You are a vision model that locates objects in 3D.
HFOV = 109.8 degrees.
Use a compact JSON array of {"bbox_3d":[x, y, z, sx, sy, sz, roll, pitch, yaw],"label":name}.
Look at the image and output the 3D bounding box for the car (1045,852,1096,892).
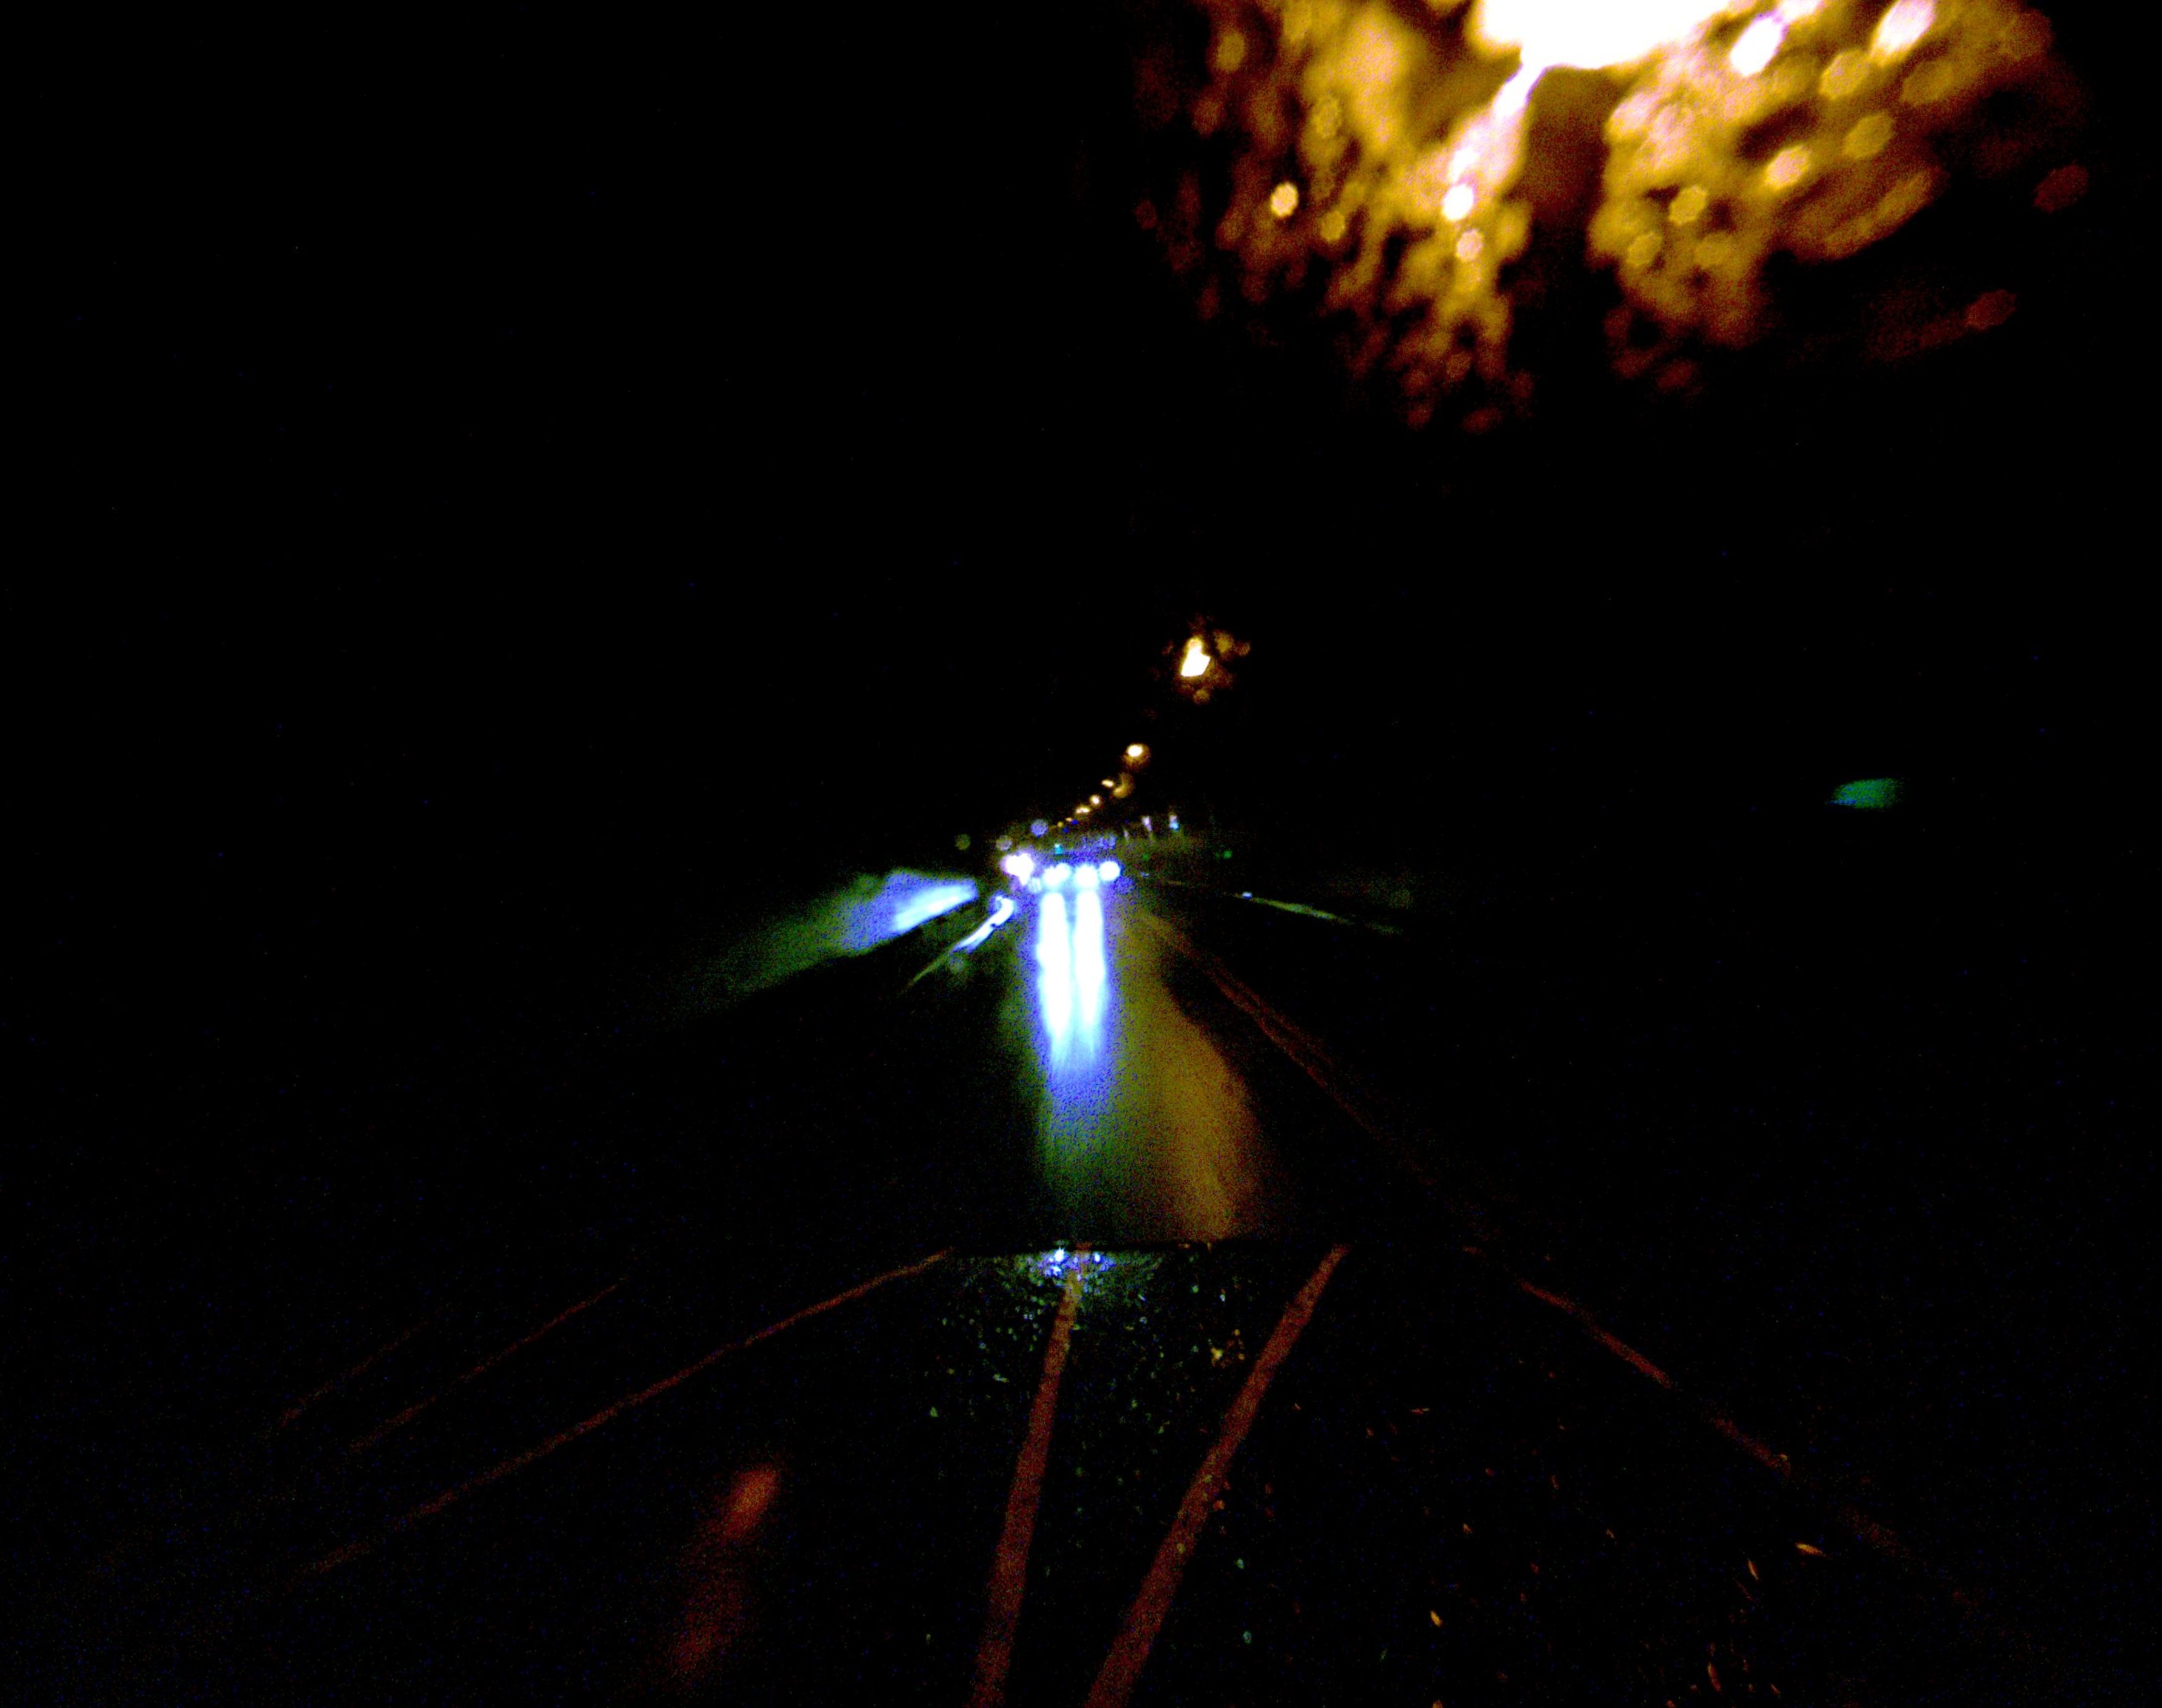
[{"bbox_3d":[-0.523,0.735,34.059,1.999,1.547,3.998,-3,1,-4],"label":"car"}]
